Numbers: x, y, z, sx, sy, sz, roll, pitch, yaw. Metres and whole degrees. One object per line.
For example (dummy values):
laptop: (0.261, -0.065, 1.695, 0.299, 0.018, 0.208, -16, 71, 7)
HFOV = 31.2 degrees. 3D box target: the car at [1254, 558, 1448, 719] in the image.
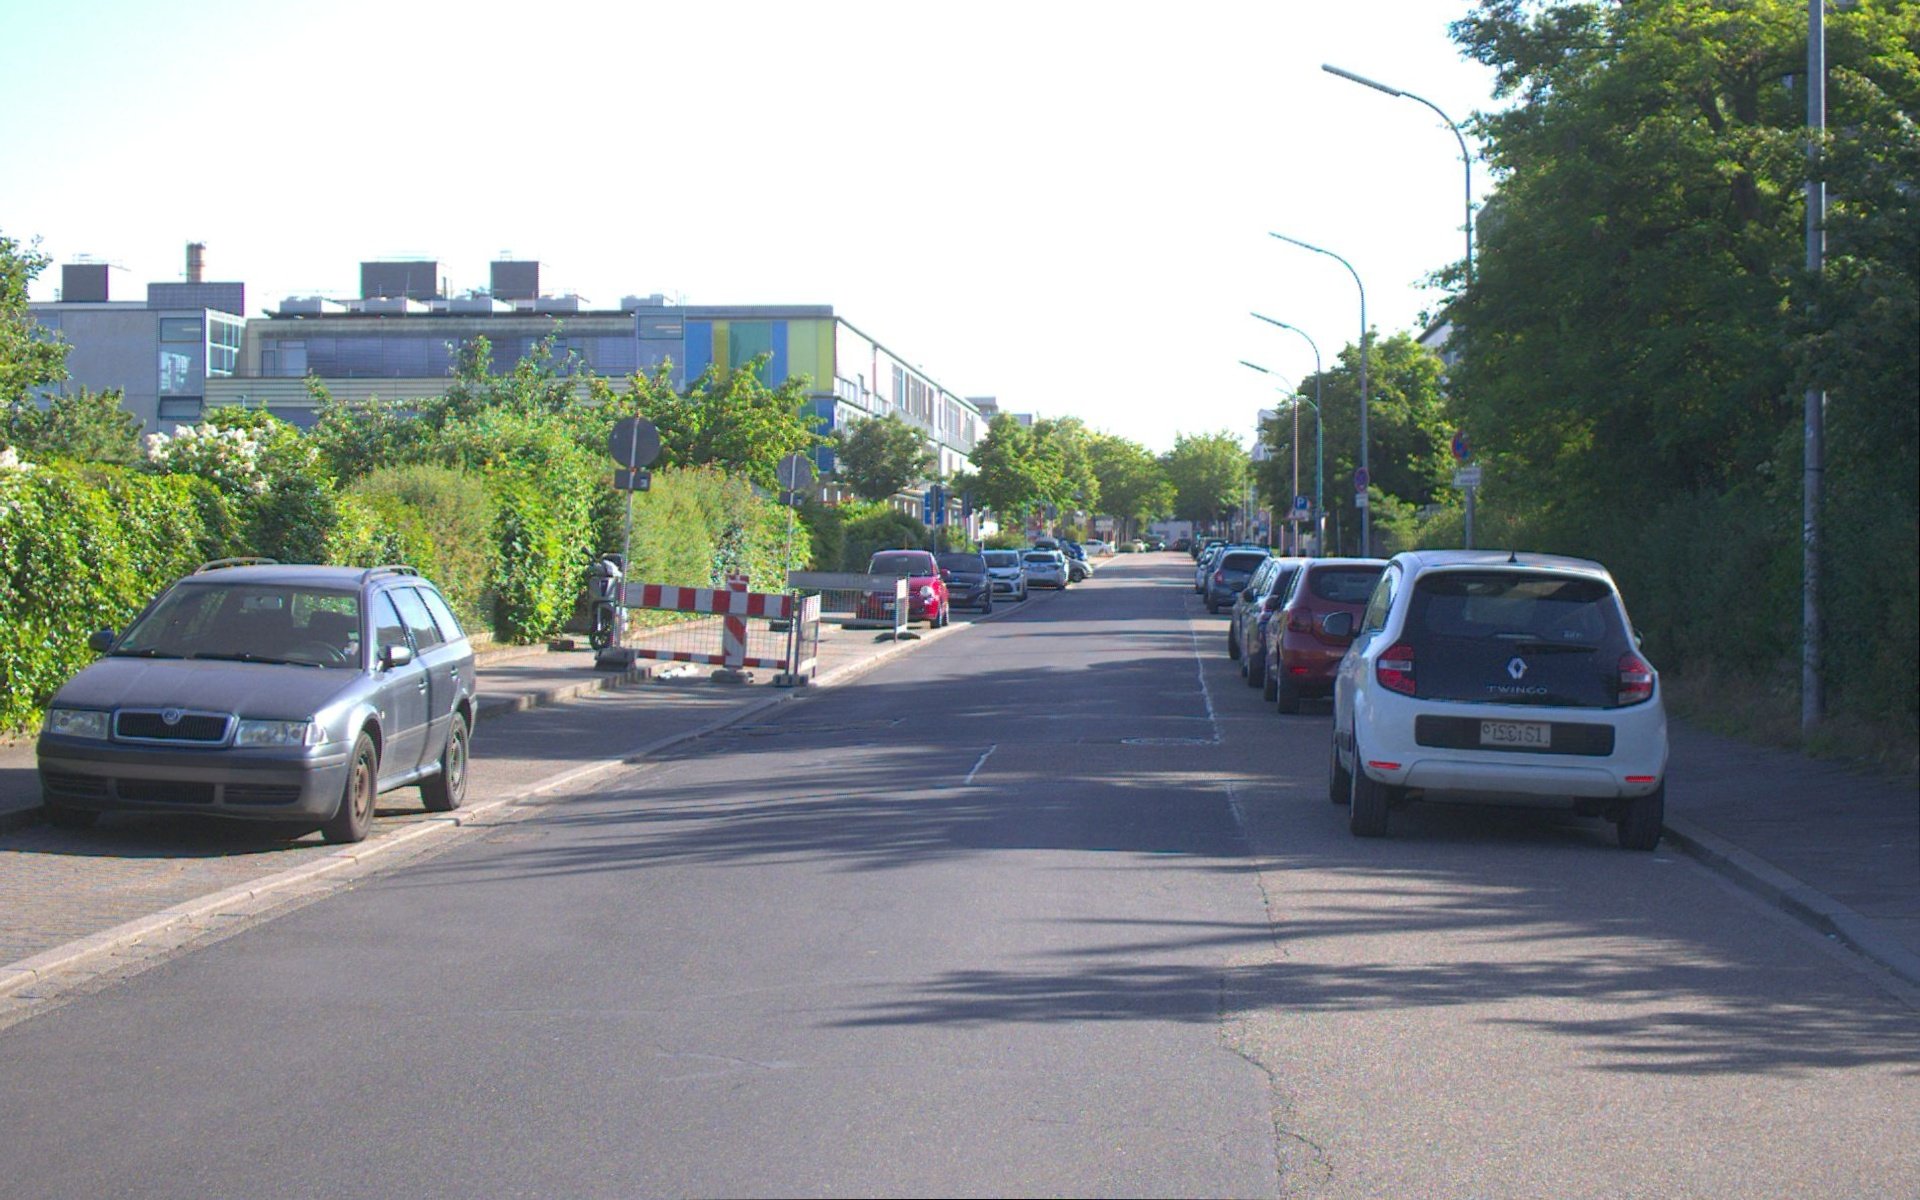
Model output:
car: (3.857, 0.341, 34.393, 1.655, 1.481, 3.838, 1, 1, 3)

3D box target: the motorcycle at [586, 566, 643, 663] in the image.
motorcycle: (-4.592, 0.183, 45.808, 0.566, 1.264, 2.091, 0, 0, 0)

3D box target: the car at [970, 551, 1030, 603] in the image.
car: (1.194, -0.696, 101.774, 1.560, 1.489, 3.758, -2, 1, 3)

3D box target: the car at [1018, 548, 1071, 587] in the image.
car: (3.245, -1.252, 131.034, 1.854, 1.423, 4.134, 0, 1, 3)

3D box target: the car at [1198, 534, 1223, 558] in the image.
car: (15.826, -3.423, 217.472, 1.445, 1.544, 3.614, 0, 1, 3)

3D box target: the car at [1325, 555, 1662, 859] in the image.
car: (2.945, 0.527, 19.567, 1.556, 1.533, 3.555, 1, 1, 4)

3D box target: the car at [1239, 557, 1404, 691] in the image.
car: (4.207, 0.238, 40.522, 1.655, 1.440, 4.656, 1, 1, 3)

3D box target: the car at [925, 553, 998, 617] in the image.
car: (0.063, -0.381, 84.771, 1.560, 1.489, 3.570, 1, 1, 3)

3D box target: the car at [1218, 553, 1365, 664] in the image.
car: (4.543, 0.079, 47.618, 1.754, 1.408, 4.656, 1, 1, 2)

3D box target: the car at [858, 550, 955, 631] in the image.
car: (-1.011, -0.210, 66.542, 1.560, 1.489, 3.570, -2, 1, 3)

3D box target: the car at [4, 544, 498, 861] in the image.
car: (-3.940, 0.493, 19.861, 1.643, 1.551, 4.417, 3, 1, 3)

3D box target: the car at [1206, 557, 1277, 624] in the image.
car: (6.731, -0.252, 82.273, 1.623, 1.521, 3.901, 1, 1, 5)
